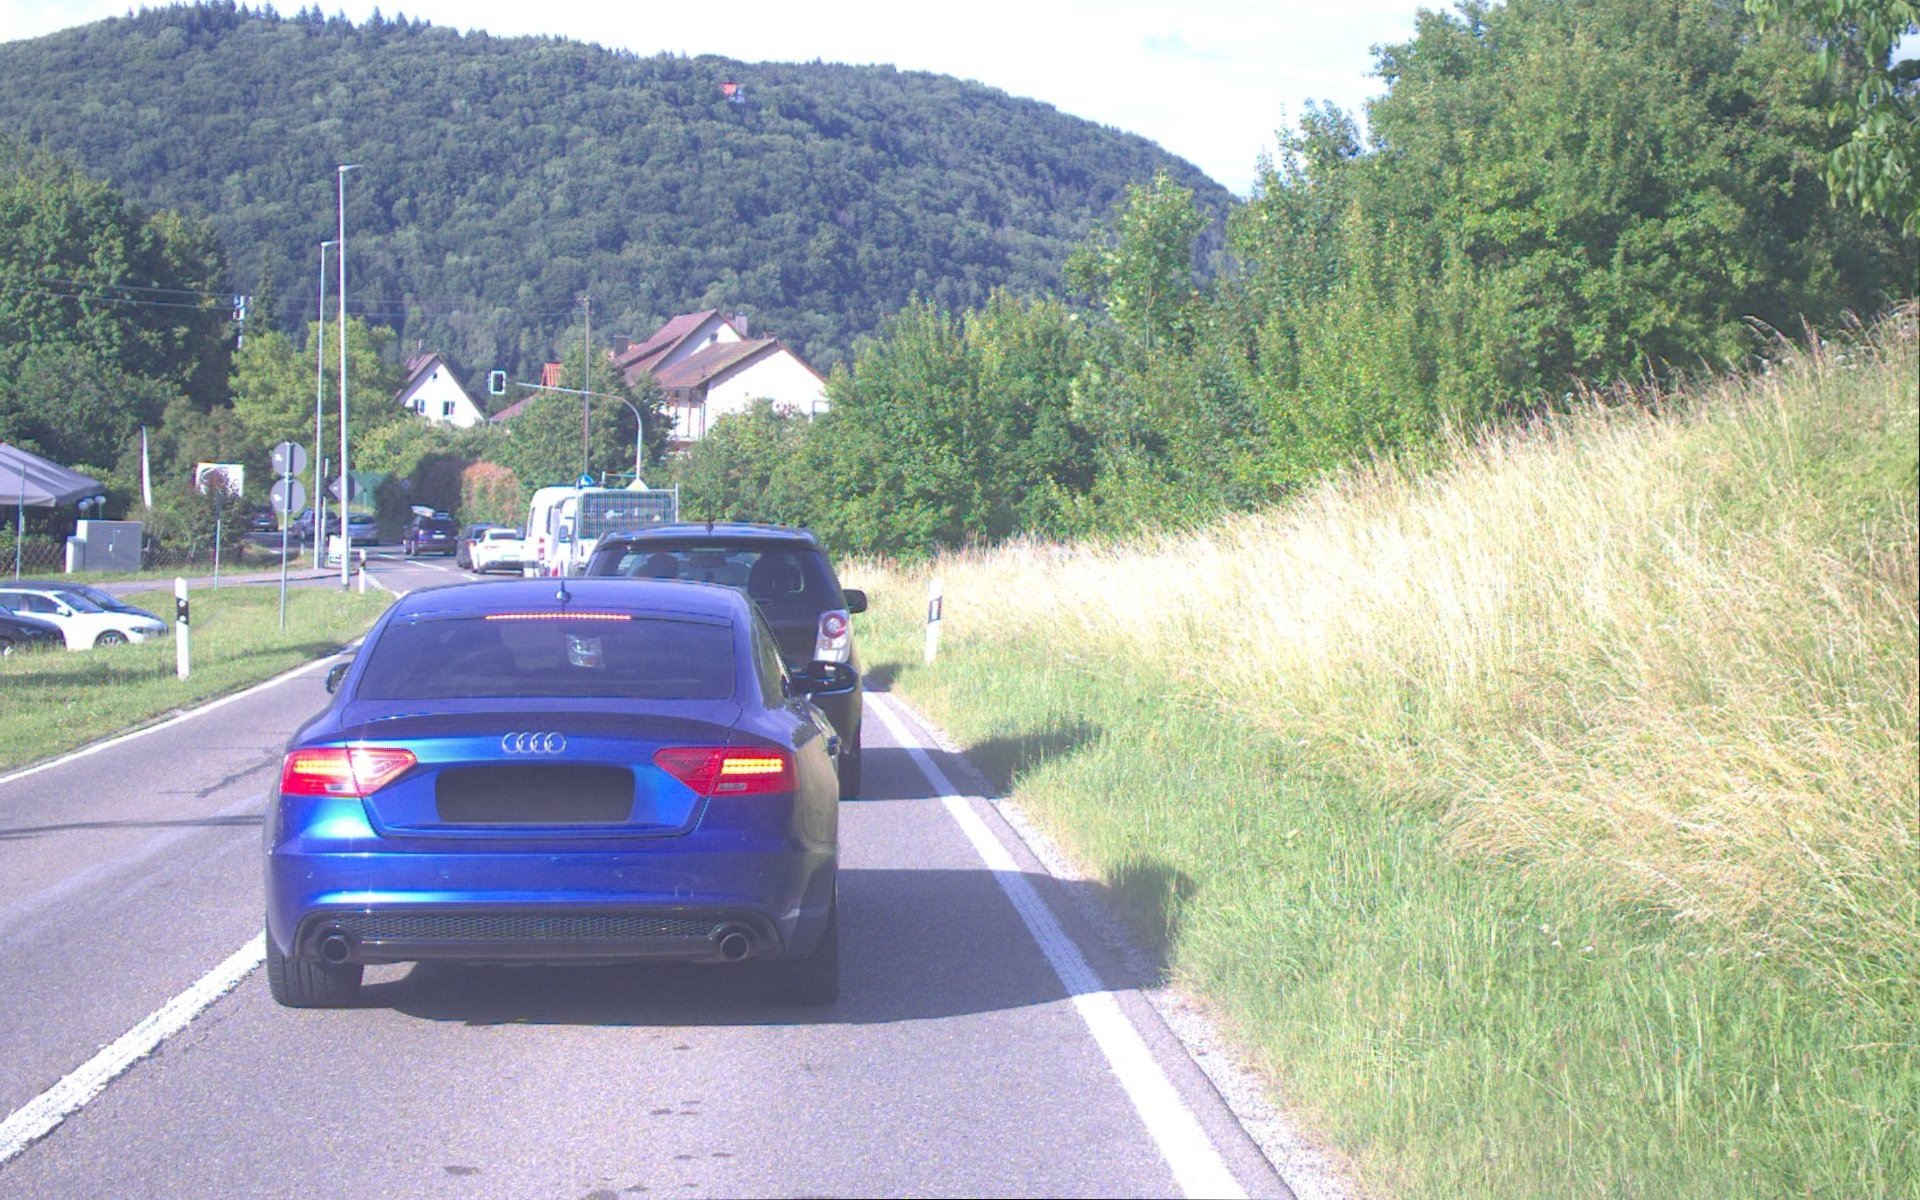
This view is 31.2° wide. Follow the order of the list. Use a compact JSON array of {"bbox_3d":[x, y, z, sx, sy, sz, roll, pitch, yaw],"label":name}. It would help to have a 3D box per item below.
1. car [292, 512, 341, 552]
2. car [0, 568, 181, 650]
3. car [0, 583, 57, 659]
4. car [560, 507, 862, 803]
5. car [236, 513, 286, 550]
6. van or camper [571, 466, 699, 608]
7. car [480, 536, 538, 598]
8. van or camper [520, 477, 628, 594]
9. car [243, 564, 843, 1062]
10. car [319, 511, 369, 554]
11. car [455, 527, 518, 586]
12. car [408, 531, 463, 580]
[{"bbox_3d":[-31.631,-3.335,168.877,1.676,1.918,4.001,-1,1,-21],"label":"car"},{"bbox_3d":[-18.193,0.184,70.454,4.037,1.655,1.655,0,0,8],"label":"car"},{"bbox_3d":[-19.388,0.401,65.925,3.713,1.434,1.509,0,0,8],"label":"car"},{"bbox_3d":[-1.527,0.284,21.003,1.645,1.619,3.517,1,1,-4],"label":"car"},{"bbox_3d":[-37.270,-3.666,183.266,1.954,1.918,4.001,0,1,-22],"label":"car"},{"bbox_3d":[-6.083,-1.148,63.831,2.051,2.497,5.813,-1,1,-8],"label":"van or camper"},{"bbox_3d":[-14.194,-1.038,108.052,1.659,1.918,4.001,-1,1,-10],"label":"car"},{"bbox_3d":[-9.361,-1.534,82.998,2.280,2.704,5.769,-1,1,-9],"label":"van or camper"},{"bbox_3d":[-1.304,0.605,11.824,1.742,1.445,3.517,0,1,-3],"label":"car"},{"bbox_3d":[-28.130,-3.069,156.941,1.676,1.918,4.001,-1,1,-19],"label":"car"},{"bbox_3d":[-15.967,-1.465,115.843,1.659,1.918,4.001,-1,1,-14],"label":"car"},{"bbox_3d":[-21.176,-1.787,138.713,1.676,1.918,4.001,-1,1,-16],"label":"car"}]
